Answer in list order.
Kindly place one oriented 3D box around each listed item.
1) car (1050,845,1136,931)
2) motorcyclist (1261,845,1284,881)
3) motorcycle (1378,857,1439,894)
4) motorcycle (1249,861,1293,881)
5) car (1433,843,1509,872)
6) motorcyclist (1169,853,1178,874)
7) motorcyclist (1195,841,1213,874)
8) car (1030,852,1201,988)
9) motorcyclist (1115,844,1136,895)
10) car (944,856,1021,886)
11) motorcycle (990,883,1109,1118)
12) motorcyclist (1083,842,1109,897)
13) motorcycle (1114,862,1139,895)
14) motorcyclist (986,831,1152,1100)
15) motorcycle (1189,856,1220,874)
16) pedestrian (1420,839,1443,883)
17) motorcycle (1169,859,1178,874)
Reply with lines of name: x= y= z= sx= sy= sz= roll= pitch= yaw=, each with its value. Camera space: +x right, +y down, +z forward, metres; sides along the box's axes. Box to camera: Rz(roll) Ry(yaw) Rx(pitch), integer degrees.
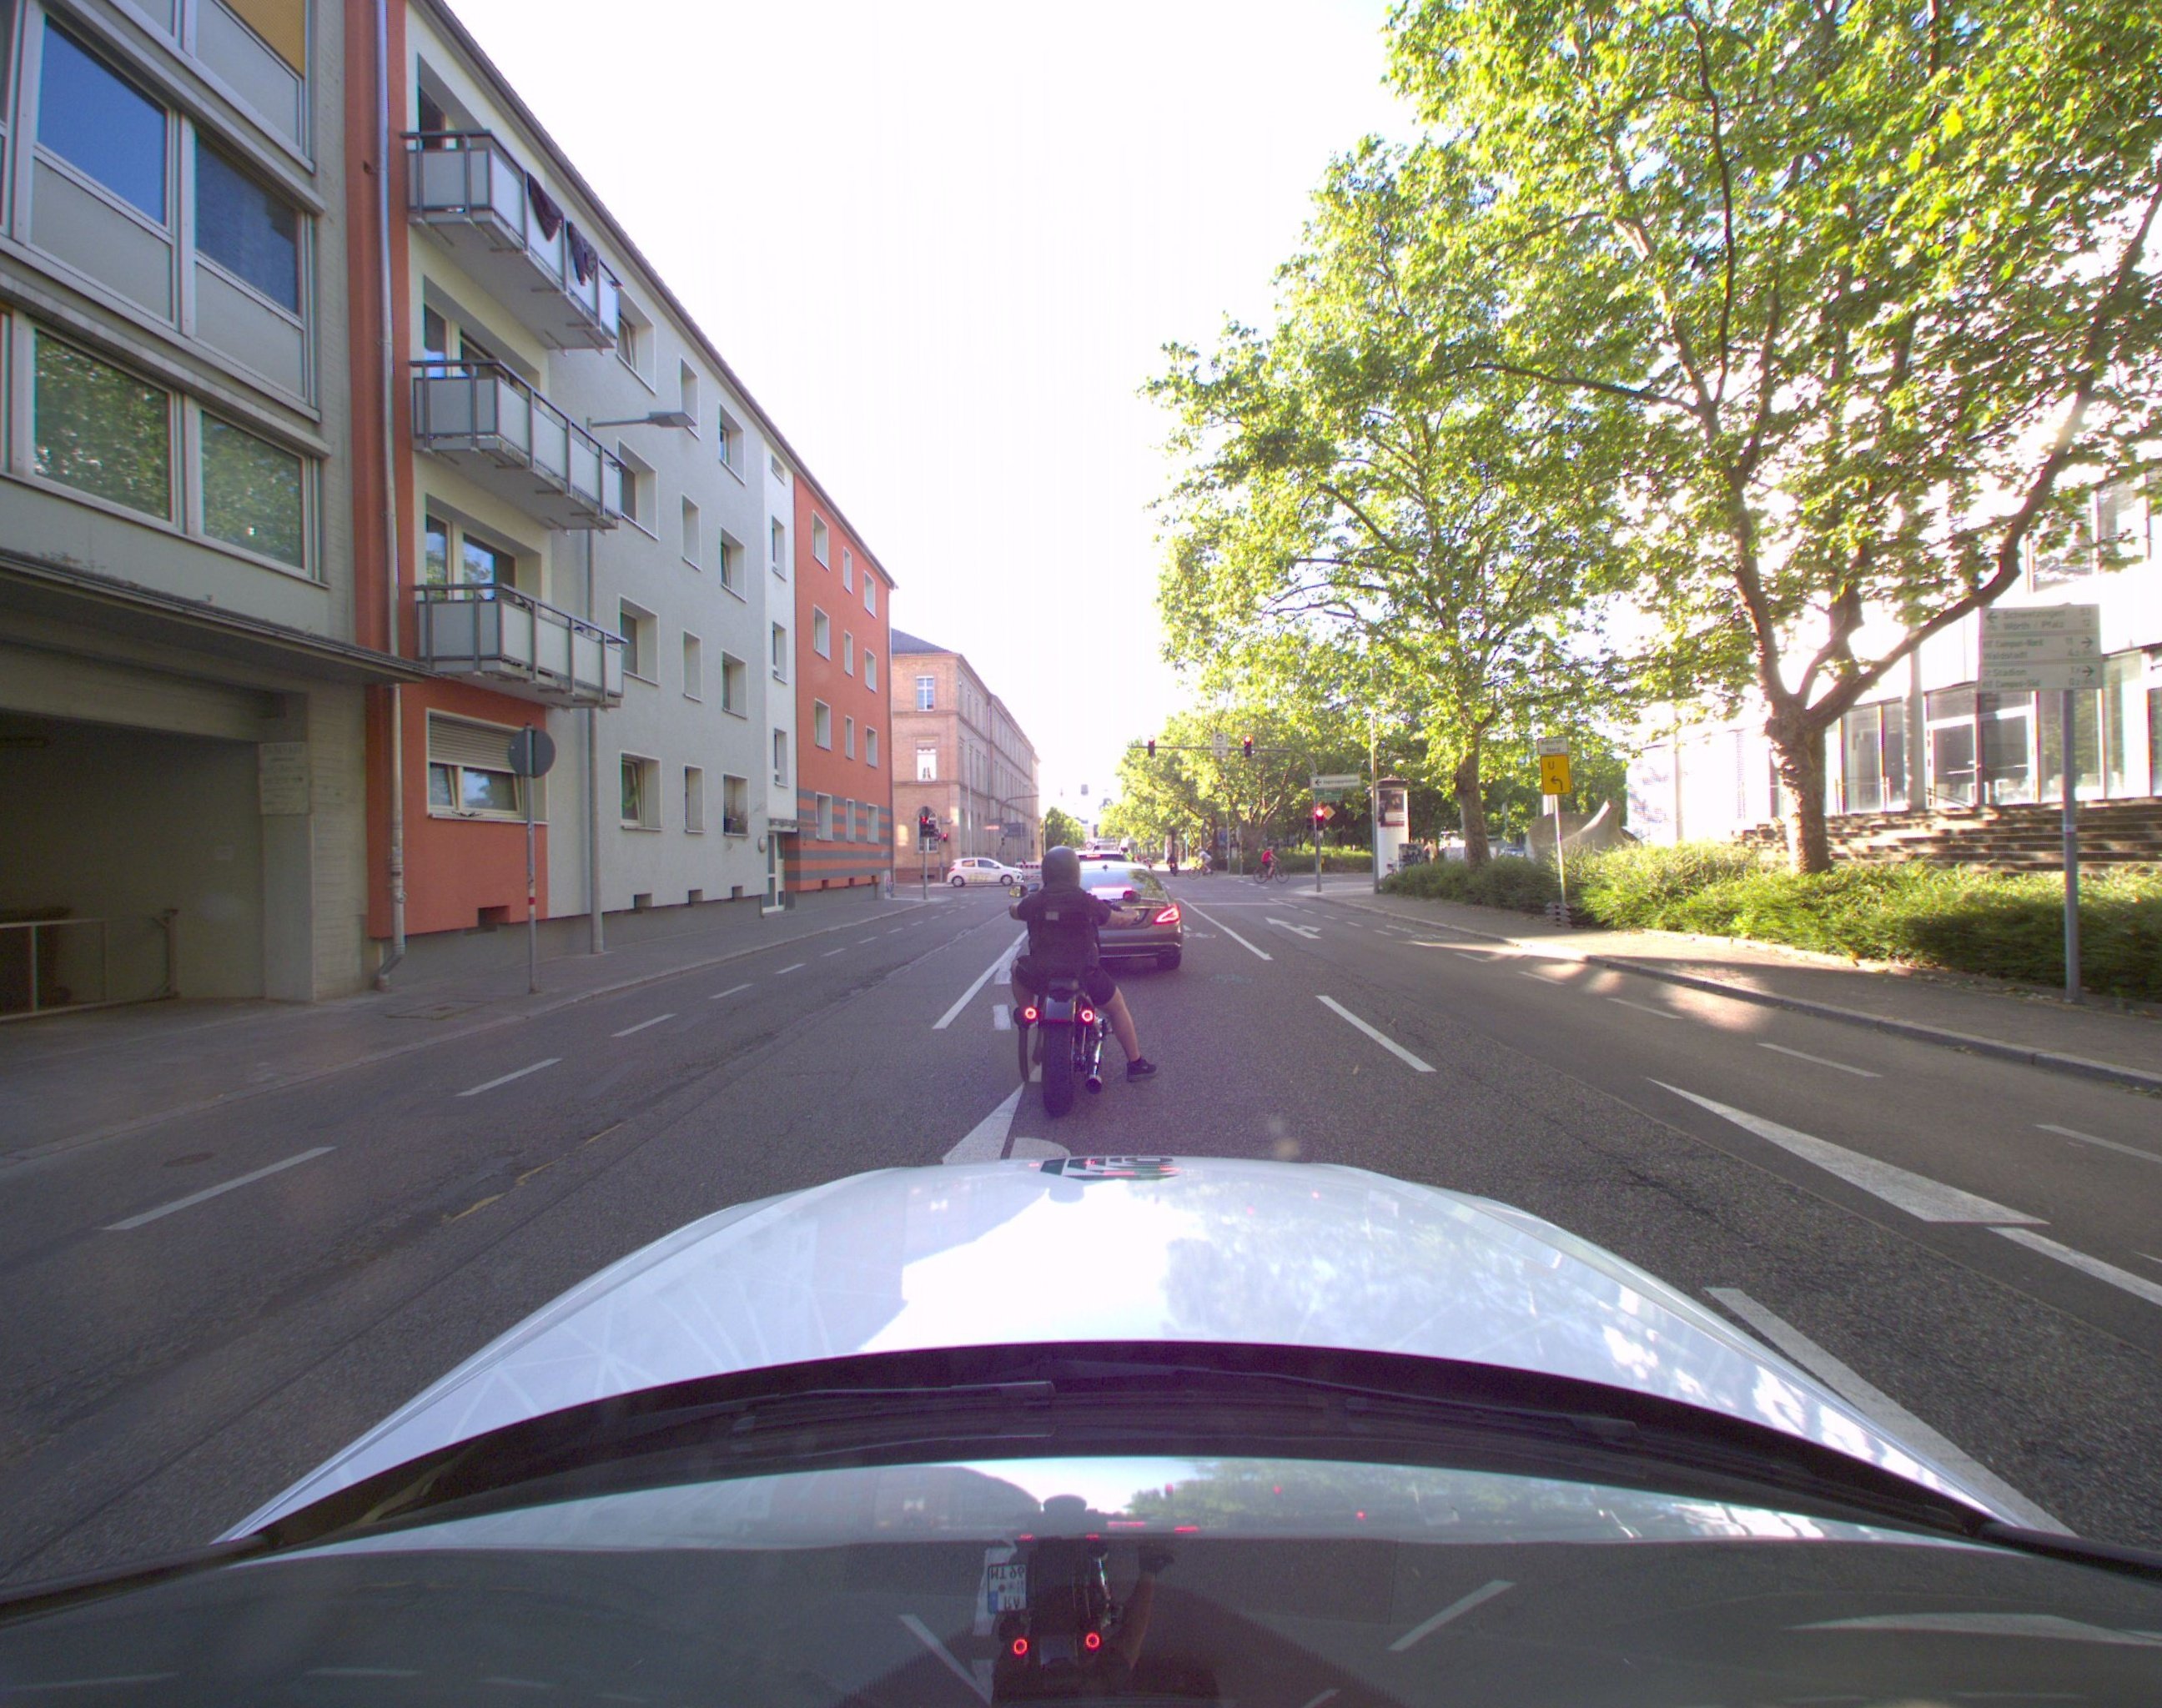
car: x=0.301 y=0.670 z=17.747 sx=1.645 sy=1.652 sz=4.002 roll=0 pitch=-1 yaw=2
motorcyclist: x=9.193 y=0.446 z=39.092 sx=0.981 sy=1.722 sz=0.551 roll=0 pitch=-1 yaw=2
motorcycle: x=11.071 y=0.715 z=27.554 sx=1.771 sy=1.243 sz=0.724 roll=0 pitch=-1 yaw=7
motorcycle: x=9.120 y=0.820 z=39.088 sx=2.004 sy=0.962 sz=0.581 roll=0 pitch=-1 yaw=2
car: x=24.630 y=0.206 z=51.532 sx=3.974 sy=1.772 sz=1.738 roll=-1 pitch=0 yaw=-1
motorcyclist: x=6.775 y=0.688 z=59.783 sx=0.639 sy=1.537 sz=0.945 roll=-1 pitch=-1 yaw=8
motorcyclist: x=7.047 y=0.190 z=46.581 sx=0.978 sy=1.876 sz=0.377 roll=-1 pitch=-1 yaw=6
car: x=0.260 y=0.749 z=11.255 sx=1.821 sy=1.486 sz=4.325 roll=0 pitch=0 yaw=-5
motorcyclist: x=1.579 y=0.542 z=28.759 sx=0.714 sy=1.743 sz=0.751 roll=0 pitch=-1 yaw=1
car: x=-4.971 y=0.860 z=41.442 sx=3.735 sy=1.418 sz=1.438 roll=-1 pitch=-1 yaw=-2
motorcycle: x=-0.143 y=0.850 z=5.552 sx=0.657 sy=1.240 sz=2.058 roll=0 pitch=-1 yaw=2
motorcyclist: x=0.501 y=0.505 z=27.226 sx=0.828 sy=1.788 sz=0.913 roll=0 pitch=-1 yaw=1
motorcycle: x=1.589 y=0.840 z=28.708 sx=0.794 sy=1.131 sz=2.237 roll=0 pitch=-1 yaw=2
motorcyclist: x=-0.055 y=0.676 z=5.459 sx=0.986 sy=1.611 sz=1.121 roll=0 pitch=-1 yaw=1
motorcycle: x=7.056 y=0.628 z=46.591 sx=1.710 sy=1.002 sz=0.416 roll=-1 pitch=0 yaw=6
pedestrian: x=14.746 y=0.284 z=34.291 sx=0.645 sy=1.827 sz=0.667 roll=-1 pitch=0 yaw=1
motorcycle: x=6.773 y=0.913 z=59.681 sx=0.622 sy=1.097 sz=2.092 roll=-1 pitch=-1 yaw=8
